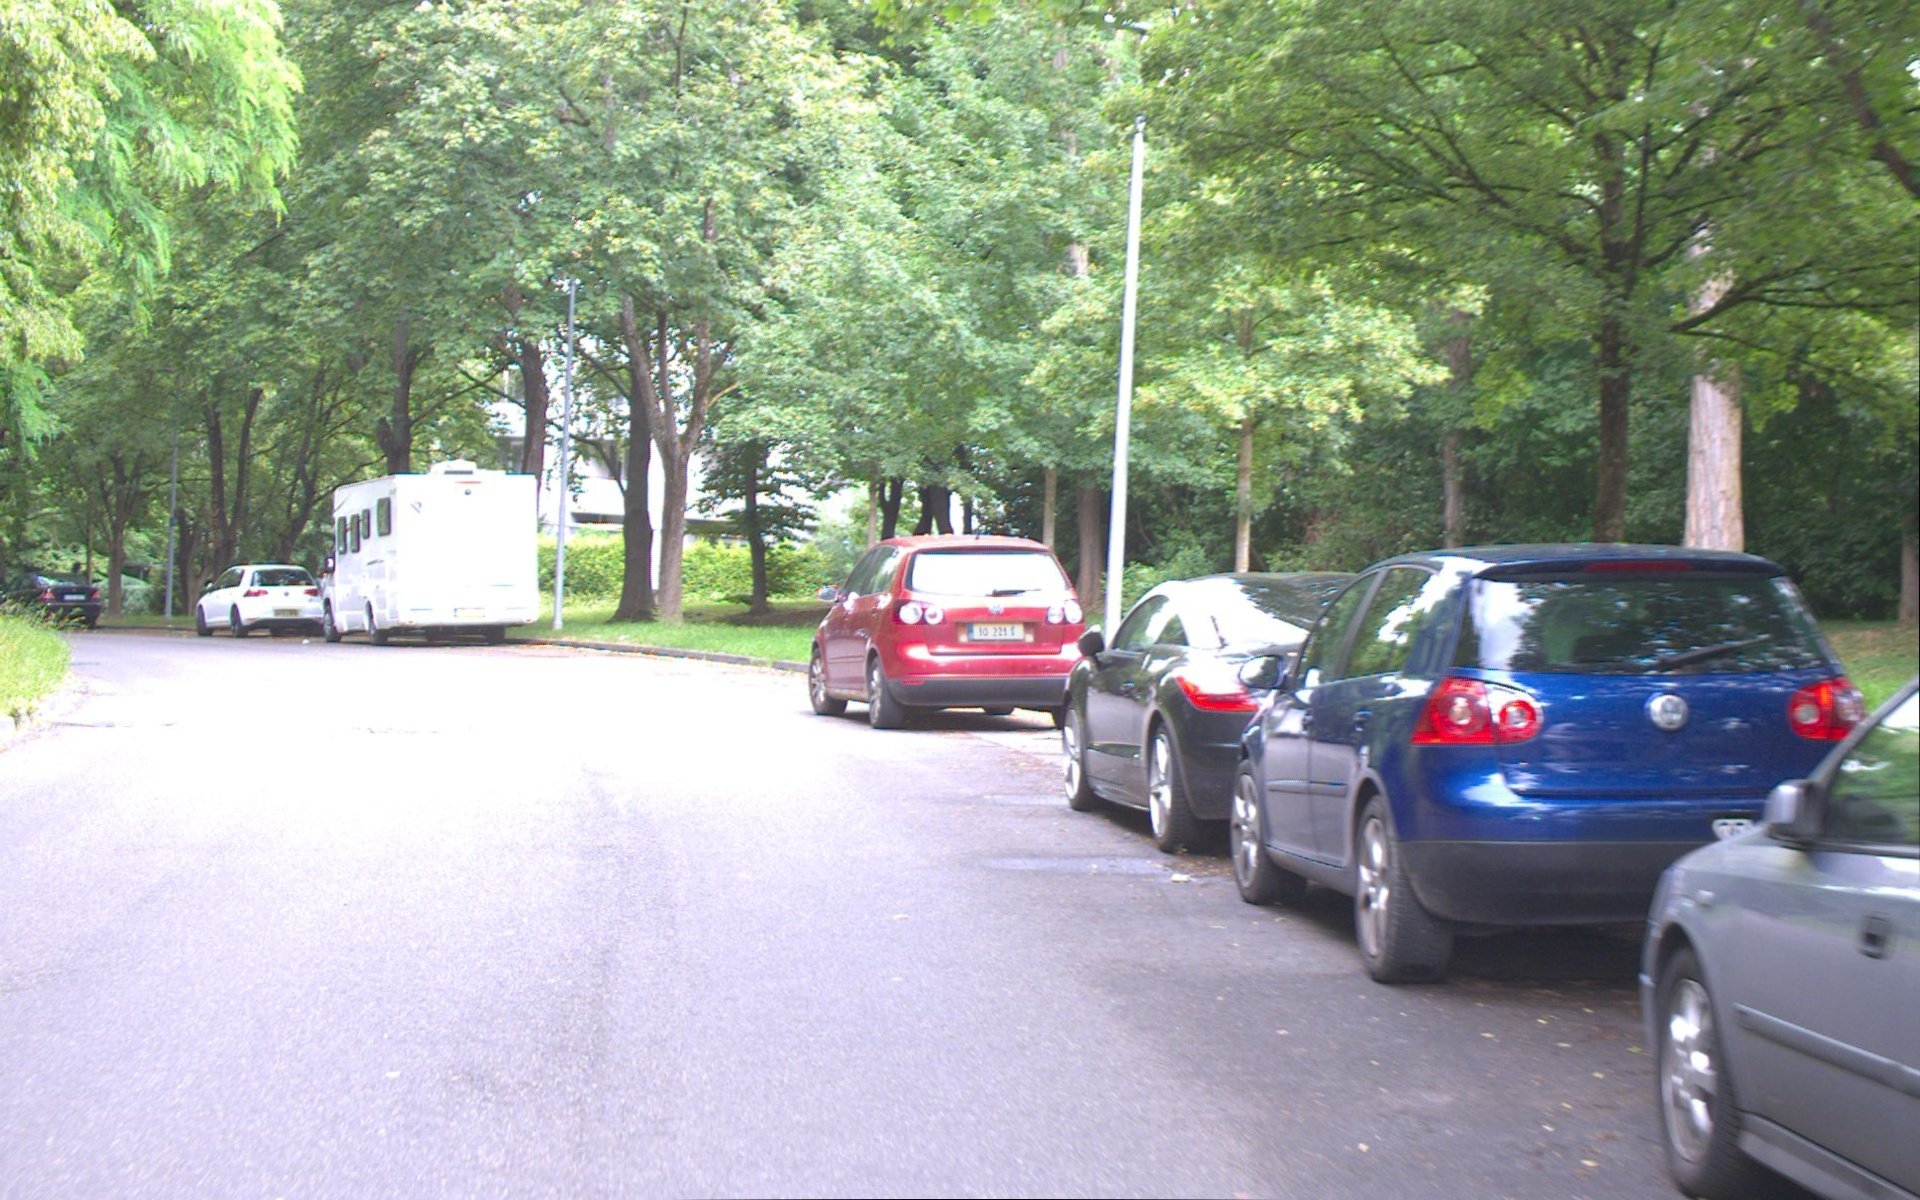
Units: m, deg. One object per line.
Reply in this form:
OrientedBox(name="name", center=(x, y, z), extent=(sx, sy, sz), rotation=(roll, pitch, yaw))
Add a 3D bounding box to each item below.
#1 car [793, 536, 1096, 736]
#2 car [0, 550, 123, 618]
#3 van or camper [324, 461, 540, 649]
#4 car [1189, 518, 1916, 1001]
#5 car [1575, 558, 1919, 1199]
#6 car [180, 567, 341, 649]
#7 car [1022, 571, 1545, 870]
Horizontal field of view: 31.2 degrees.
OrientedBox(name="car", center=(-0.210, 0.272, 28.856), extent=(1.738, 1.557, 4.001), rotation=(0, 0, -12))
OrientedBox(name="car", center=(-22.262, -0.405, 84.316), extent=(1.994, 1.495, 4.000), rotation=(3, 0, -35))
OrientedBox(name="van or camper", center=(-8.921, -0.787, 57.702), extent=(2.428, 2.997, 5.210), rotation=(0, 1, -22))
OrientedBox(name="car", center=(2.081, 0.508, 13.308), extent=(1.714, 1.504, 4.182), rotation=(3, 0, -5))
OrientedBox(name="car", center=(2.502, 0.672, 6.537), extent=(1.717, 1.426, 3.949), rotation=(0, 2, -4))
OrientedBox(name="car", center=(-14.252, 0.151, 69.863), extent=(1.993, 1.468, 4.000), rotation=(3, 0, -30))
OrientedBox(name="car", center=(1.540, 0.542, 18.052), extent=(1.750, 1.332, 4.417), rotation=(1, 1, -8))
